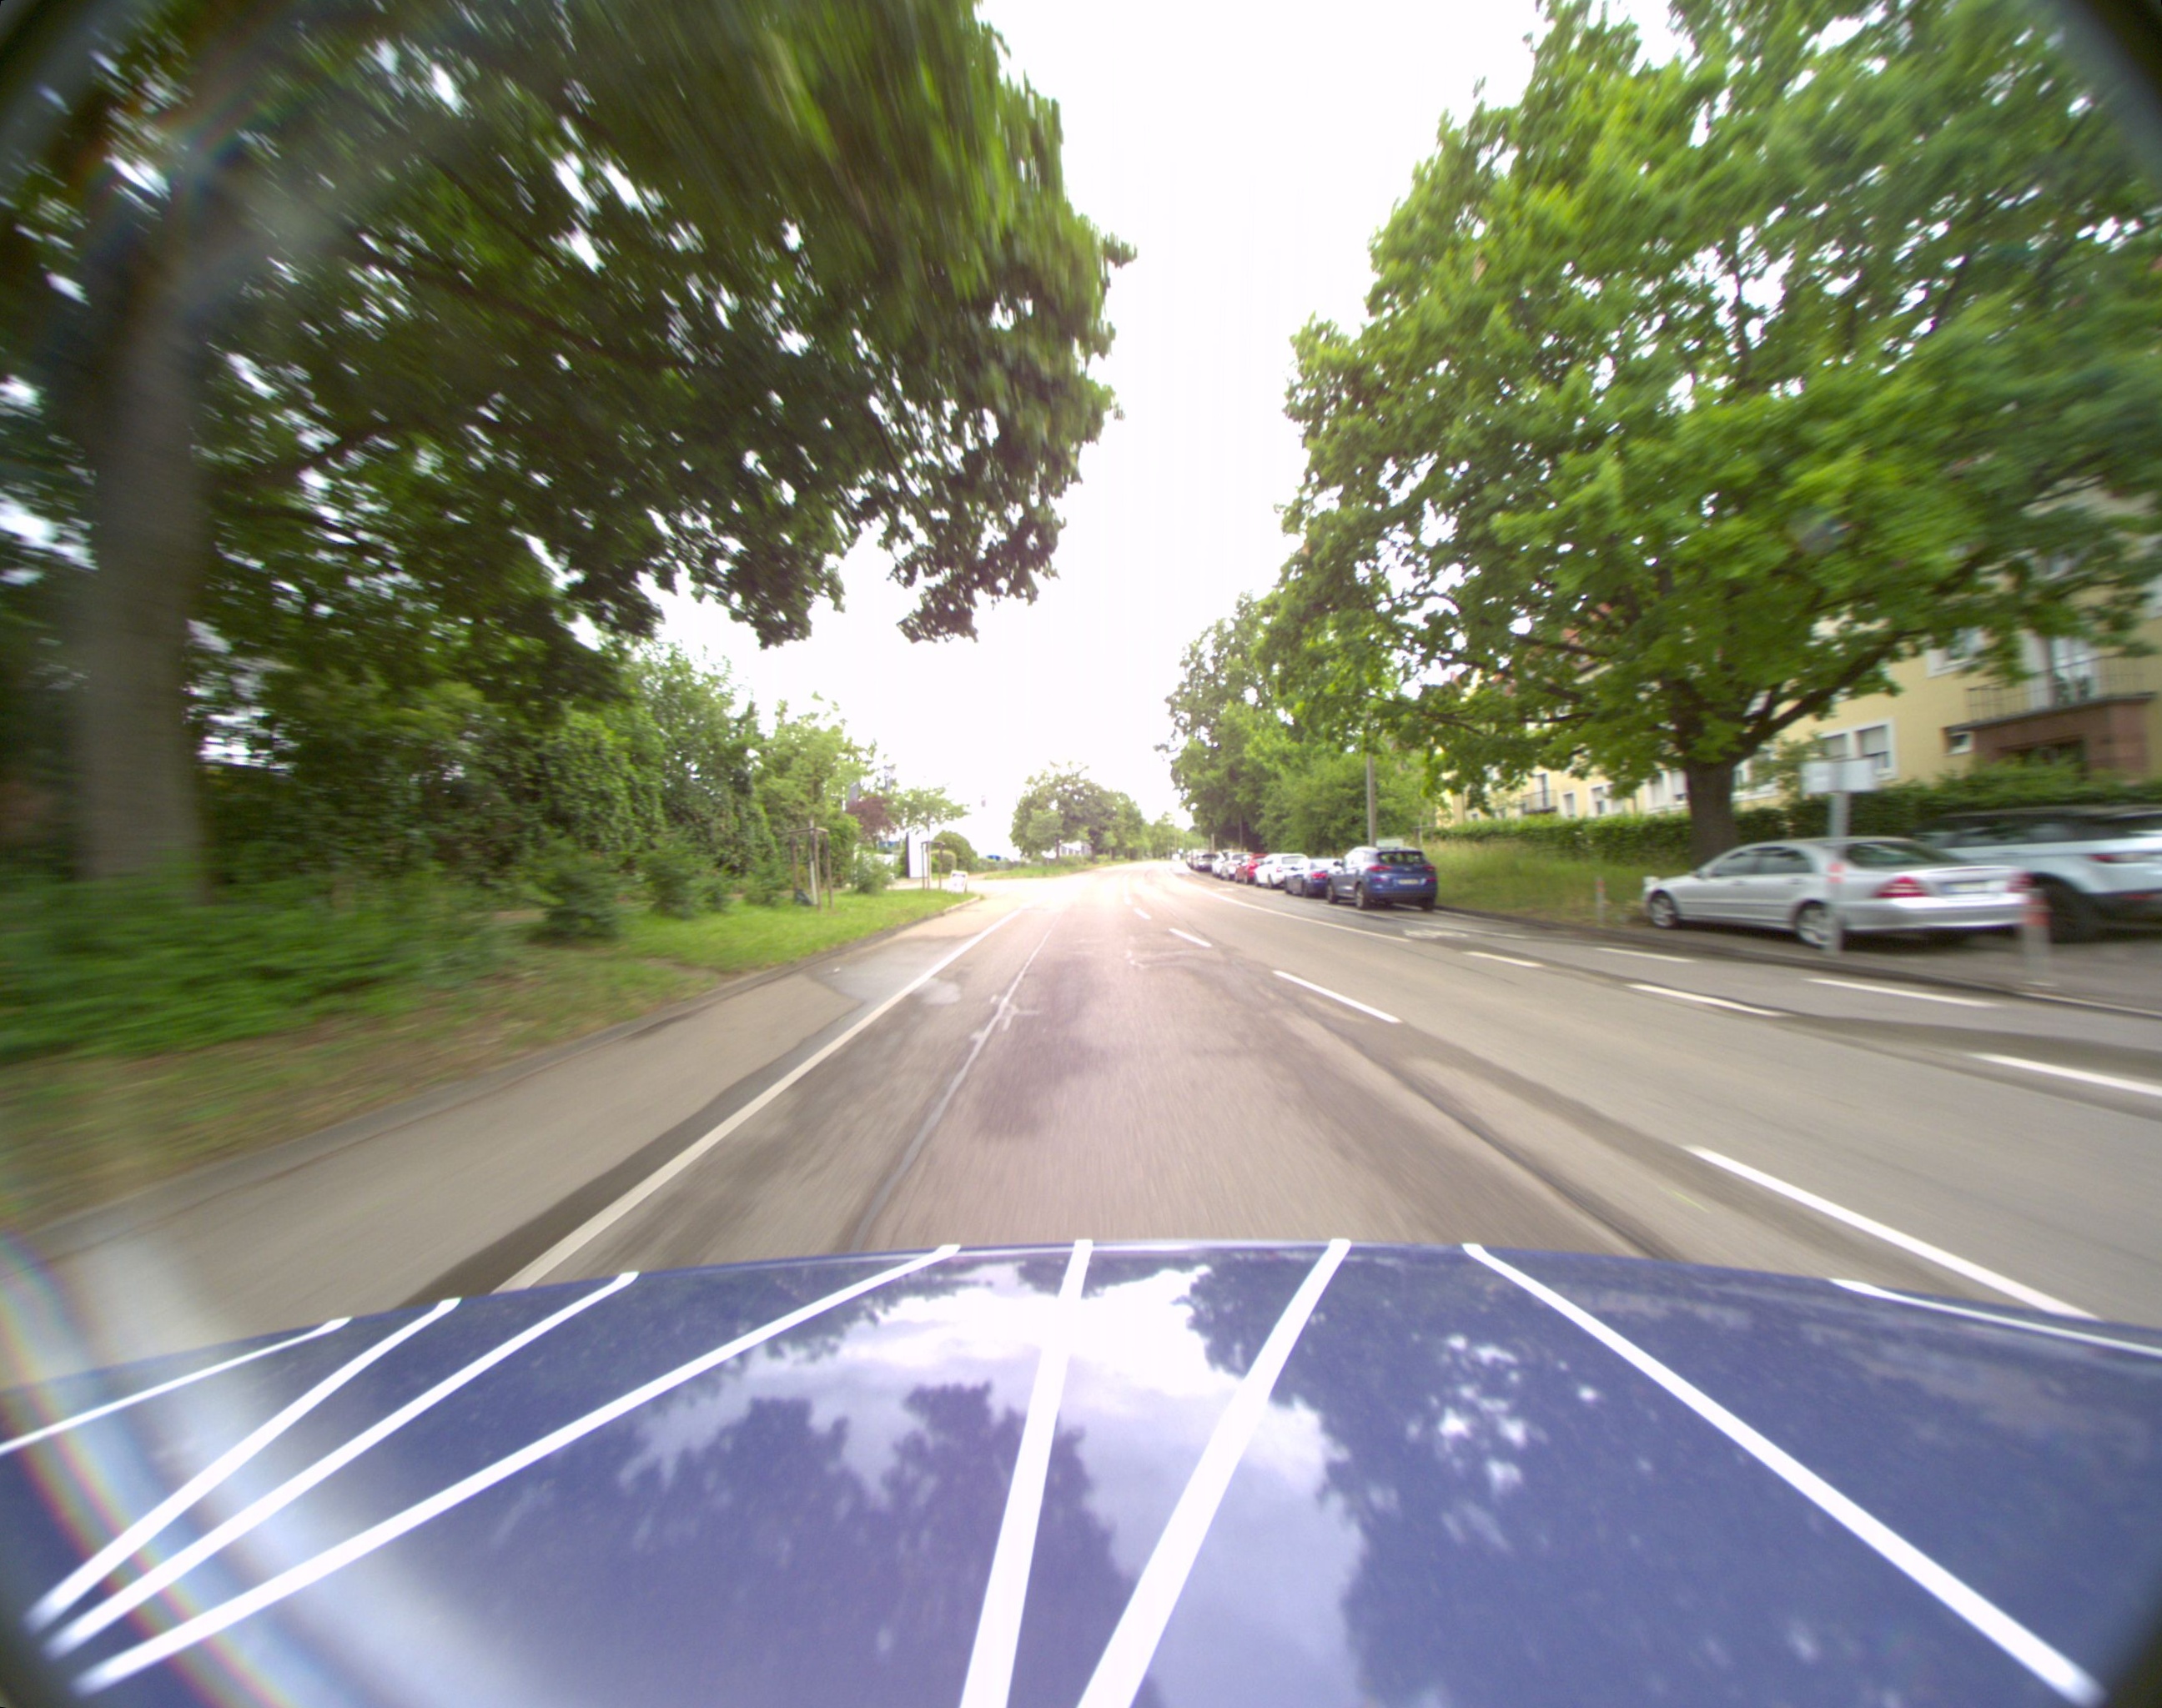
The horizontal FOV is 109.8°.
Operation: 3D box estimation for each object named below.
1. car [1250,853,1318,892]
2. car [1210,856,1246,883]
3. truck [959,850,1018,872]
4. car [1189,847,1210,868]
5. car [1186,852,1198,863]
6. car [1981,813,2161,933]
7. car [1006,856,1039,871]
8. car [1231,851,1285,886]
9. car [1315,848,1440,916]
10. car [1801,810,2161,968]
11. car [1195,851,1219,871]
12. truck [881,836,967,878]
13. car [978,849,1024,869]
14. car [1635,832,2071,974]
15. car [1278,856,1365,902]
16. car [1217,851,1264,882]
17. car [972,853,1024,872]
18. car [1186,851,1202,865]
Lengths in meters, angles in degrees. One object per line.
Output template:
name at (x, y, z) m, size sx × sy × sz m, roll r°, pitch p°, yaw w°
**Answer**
car at (8.590, 0.733, 32.566) m, size 1.719 × 1.451 × 4.757 m, roll -2°, pitch 0°, yaw 1°
car at (9.360, 0.972, 48.684) m, size 1.771 × 1.564 × 4.761 m, roll -1°, pitch 0°, yaw 6°
truck at (-10.477, 0.826, 86.148) m, size 6.259 × 2.199 × 2.243 m, roll -3°, pitch 0°, yaw -20°
car at (11.757, 0.325, 75.601) m, size 1.870 × 1.952 × 5.129 m, roll -2°, pitch 0°, yaw 6°
car at (17.241, 0.575, 118.605) m, size 1.771 × 1.582 × 4.137 m, roll -2°, pitch 0°, yaw 8°
car at (14.699, 0.213, 9.406) m, size 1.766 × 1.462 × 4.440 m, roll -5°, pitch 0°, yaw 0°
car at (-9.193, 1.503, 119.358) m, size 4.583 × 2.022 × 2.067 m, roll -3°, pitch 0°, yaw -32°
car at (8.709, 0.685, 37.804) m, size 1.719 × 1.564 × 4.371 m, roll -2°, pitch 0°, yaw 1°
car at (8.025, 0.731, 21.013) m, size 1.719 × 1.603 × 4.536 m, roll -2°, pitch -1°, yaw 1°
car at (12.405, 0.346, 10.155) m, size 1.765 × 1.623 × 4.001 m, roll -5°, pitch 0°, yaw 3°
car at (10.803, 0.555, 65.185) m, size 1.770 × 1.624 × 4.160 m, roll -2°, pitch 0°, yaw 7°
truck at (-13.887, 0.253, 67.056) m, size 7.192 × 3.456 × 2.615 m, roll -1°, pitch 0°, yaw -17°
car at (-9.911, 0.633, 93.603) m, size 5.265 × 2.175 × 2.069 m, roll -3°, pitch 0°, yaw -17°
car at (10.271, 0.557, 10.732) m, size 1.765 × 1.526 × 4.392 m, roll -3°, pitch 0°, yaw 3°
car at (8.222, 0.807, 26.358) m, size 1.719 × 1.381 × 4.338 m, roll -2°, pitch 0°, yaw 1°
car at (8.960, 0.656, 43.014) m, size 1.873 × 1.564 × 4.120 m, roll -2°, pitch 0°, yaw 1°
car at (-9.780, 1.028, 89.672) m, size 5.829 × 1.945 × 2.069 m, roll -3°, pitch 0°, yaw -14°
car at (13.442, 0.454, 90.263) m, size 1.676 × 1.555 × 4.283 m, roll -1°, pitch 0°, yaw 6°
